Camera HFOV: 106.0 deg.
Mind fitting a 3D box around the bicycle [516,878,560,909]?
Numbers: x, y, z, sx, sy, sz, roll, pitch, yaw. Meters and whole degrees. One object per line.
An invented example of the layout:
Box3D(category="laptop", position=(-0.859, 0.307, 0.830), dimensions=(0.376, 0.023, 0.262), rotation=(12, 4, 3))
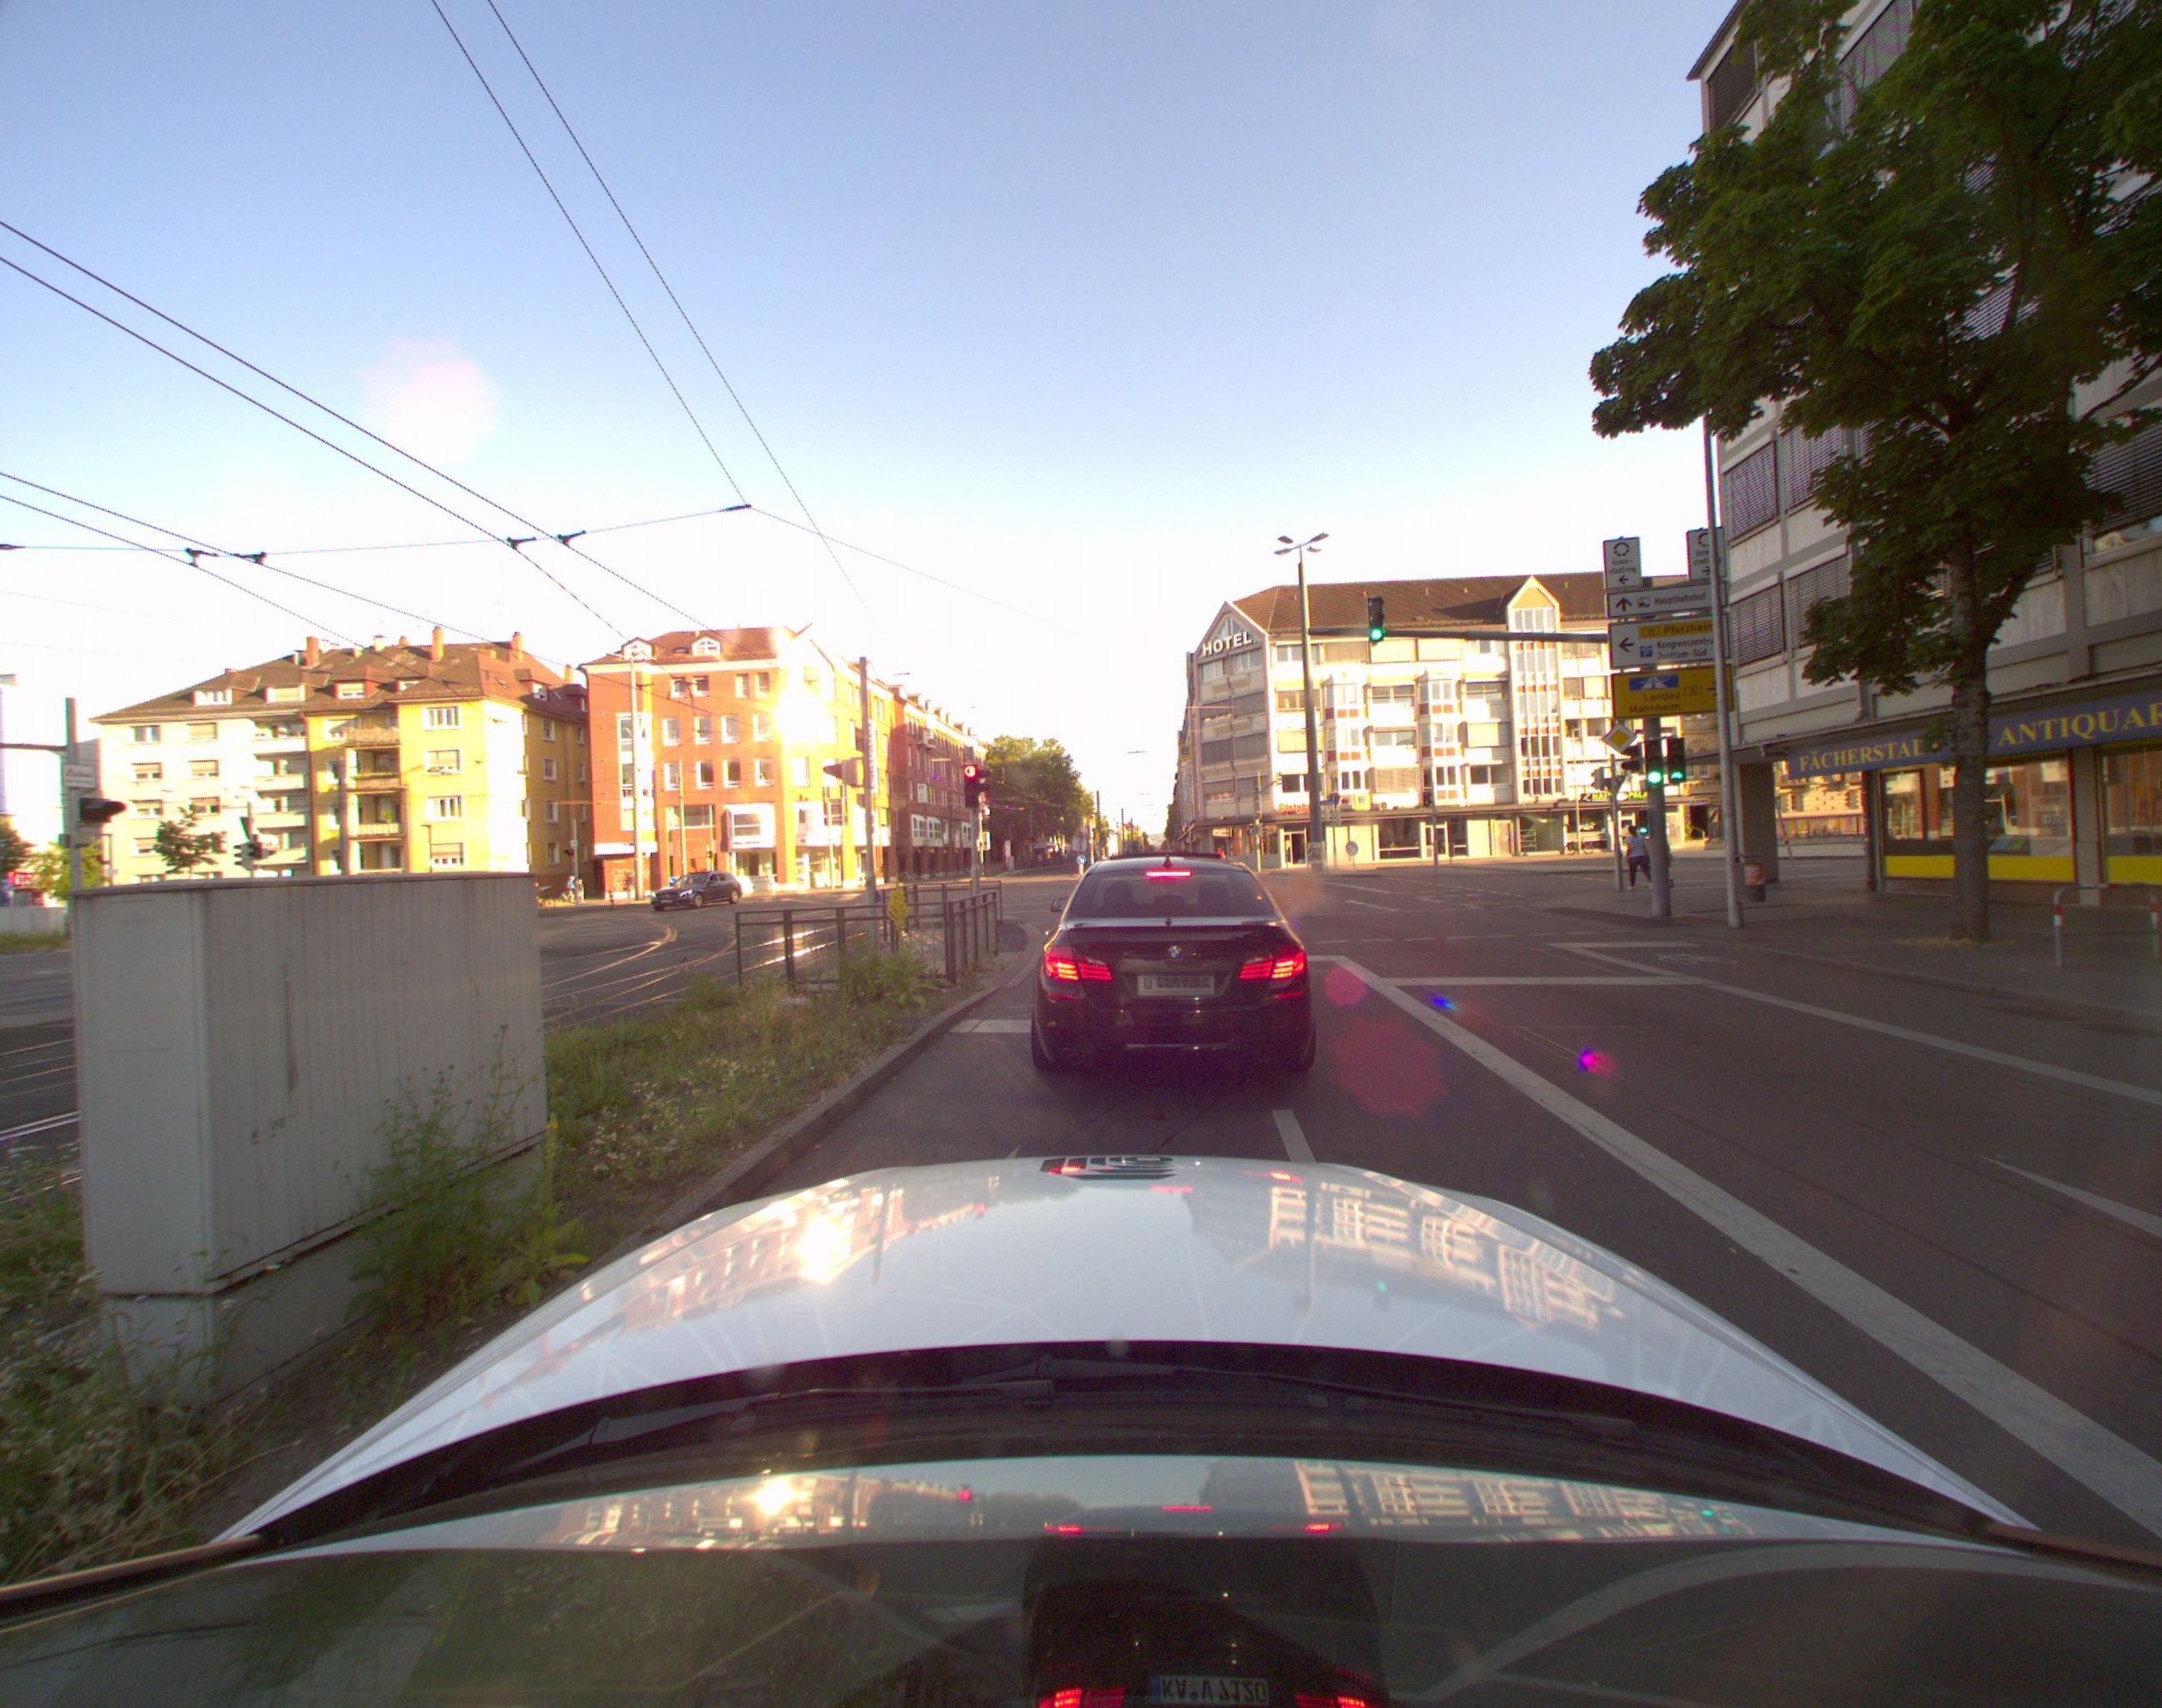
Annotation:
Box3D(category="bicycle", position=(-25.153, 1.812, 37.748), dimensions=(0.615, 1.325, 2.016), rotation=(-1, 0, 2))

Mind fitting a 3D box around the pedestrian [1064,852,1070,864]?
Box3D(category="pedestrian", position=(-2.095, 0.613, 119.996), dimensions=(0.719, 1.681, 0.993), rotation=(-3, 0, 8))

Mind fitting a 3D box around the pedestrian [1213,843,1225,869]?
Box3D(category="pedestrian", position=(9.910, 0.156, 58.359), dimensions=(0.682, 1.854, 0.671), rotation=(-3, 0, 2))

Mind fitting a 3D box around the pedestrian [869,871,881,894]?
Box3D(category="pedestrian", position=(-17.101, 2.389, 67.516), dimensions=(0.626, 1.868, 0.683), rotation=(-1, 0, 32))

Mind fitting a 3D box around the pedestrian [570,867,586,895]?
Box3D(category="pedestrian", position=(-35.017, 1.862, 56.690), dimensions=(0.806, 1.868, 0.660), rotation=(-1, 0, -17))

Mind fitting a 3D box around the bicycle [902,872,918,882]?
Box3D(category="bicycle", position=(-15.877, 2.140, 75.666), dimensions=(1.413, 0.922, 0.442), rotation=(-1, 0, -11))

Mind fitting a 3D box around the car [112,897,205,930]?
Box3D(category="car", position=(-63.358, 4.054, 55.985), dimensions=(3.975, 2.013, 1.999), rotation=(-1, 0, -1))

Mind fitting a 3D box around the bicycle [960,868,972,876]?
Box3D(category="bicycle", position=(-13.611, 2.162, 96.319), dimensions=(1.412, 0.922, 0.402), rotation=(-1, 0, -8))

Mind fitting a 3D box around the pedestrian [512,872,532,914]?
Box3D(category="pedestrian", position=(-25.727, 1.786, 37.470), dimensions=(0.500, 1.868, 0.563), rotation=(-1, 0, 0))

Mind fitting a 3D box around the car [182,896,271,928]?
Box3D(category="car", position=(-58.829, 3.968, 56.127), dimensions=(3.975, 2.013, 1.999), rotation=(-1, 0, -1))

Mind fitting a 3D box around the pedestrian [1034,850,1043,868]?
Box3D(category="pedestrian", position=(-4.945, 0.563, 95.196), dimensions=(0.983, 2.013, 0.727), rotation=(-1, 0, 4))

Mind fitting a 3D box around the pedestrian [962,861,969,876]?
Box3D(category="pedestrian", position=(-13.462, 1.697, 94.905), dimensions=(0.483, 1.681, 0.657), rotation=(-3, 0, 9))

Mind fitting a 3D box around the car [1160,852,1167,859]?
Box3D(category="car", position=(19.675, 0.326, 194.423), dimensions=(1.466, 1.514, 3.100), rotation=(-3, 0, 5))

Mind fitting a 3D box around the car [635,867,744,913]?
Box3D(category="car", position=(-15.983, 1.405, 33.536), dimensions=(1.984, 1.585, 4.484), rotation=(-3, 0, 4))

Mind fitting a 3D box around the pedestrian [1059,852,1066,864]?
Box3D(category="pedestrian", position=(-2.711, 0.631, 117.983), dimensions=(0.719, 1.681, 0.993), rotation=(-3, 0, 8))

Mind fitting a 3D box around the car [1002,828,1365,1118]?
Box3D(category="car", position=(0.615, 0.644, 6.491), dimensions=(1.986, 1.585, 4.001), rotation=(0, 0, 1))

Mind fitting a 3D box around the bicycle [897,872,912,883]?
Box3D(category="bicycle", position=(-16.152, 2.157, 74.457), dimensions=(1.286, 0.922, 0.348), rotation=(-1, 0, -11))

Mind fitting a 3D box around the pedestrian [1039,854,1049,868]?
Box3D(category="pedestrian", position=(-4.554, 0.906, 100.293), dimensions=(0.983, 1.681, 0.727), rotation=(-3, 0, 4))

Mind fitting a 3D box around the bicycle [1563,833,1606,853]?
Box3D(category="bicycle", position=(34.672, -0.742, 56.100), dimensions=(2.397, 1.265, 0.823), rotation=(-3, 0, 0))

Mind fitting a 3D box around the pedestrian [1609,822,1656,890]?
Box3D(category="pedestrian", position=(13.897, 0.046, 20.538), dimensions=(0.680, 1.667, 0.673), rotation=(-3, 0, 9))

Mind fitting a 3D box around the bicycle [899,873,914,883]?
Box3D(category="bicycle", position=(-15.797, 2.151, 73.692), dimensions=(1.281, 0.922, 0.349), rotation=(-1, 0, 1))

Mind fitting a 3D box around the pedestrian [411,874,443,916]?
Box3D(category="pedestrian", position=(-30.328, 1.872, 37.772), dimensions=(0.828, 1.868, 0.949), rotation=(-1, 0, 36))

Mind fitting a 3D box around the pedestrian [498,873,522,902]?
Box3D(category="pedestrian", position=(-37.845, 2.181, 53.968), dimensions=(0.938, 1.868, 0.838), rotation=(-1, 0, -4))

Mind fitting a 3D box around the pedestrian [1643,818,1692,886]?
Box3D(category="pedestrian", position=(14.854, -0.061, 20.639), dimensions=(0.719, 1.667, 0.673), rotation=(-3, 0, 9))

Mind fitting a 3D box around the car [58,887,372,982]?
Box3D(category="car", position=(-17.526, 1.549, 16.848), dimensions=(1.660, 1.448, 4.211), rotation=(-3, 0, 8))
